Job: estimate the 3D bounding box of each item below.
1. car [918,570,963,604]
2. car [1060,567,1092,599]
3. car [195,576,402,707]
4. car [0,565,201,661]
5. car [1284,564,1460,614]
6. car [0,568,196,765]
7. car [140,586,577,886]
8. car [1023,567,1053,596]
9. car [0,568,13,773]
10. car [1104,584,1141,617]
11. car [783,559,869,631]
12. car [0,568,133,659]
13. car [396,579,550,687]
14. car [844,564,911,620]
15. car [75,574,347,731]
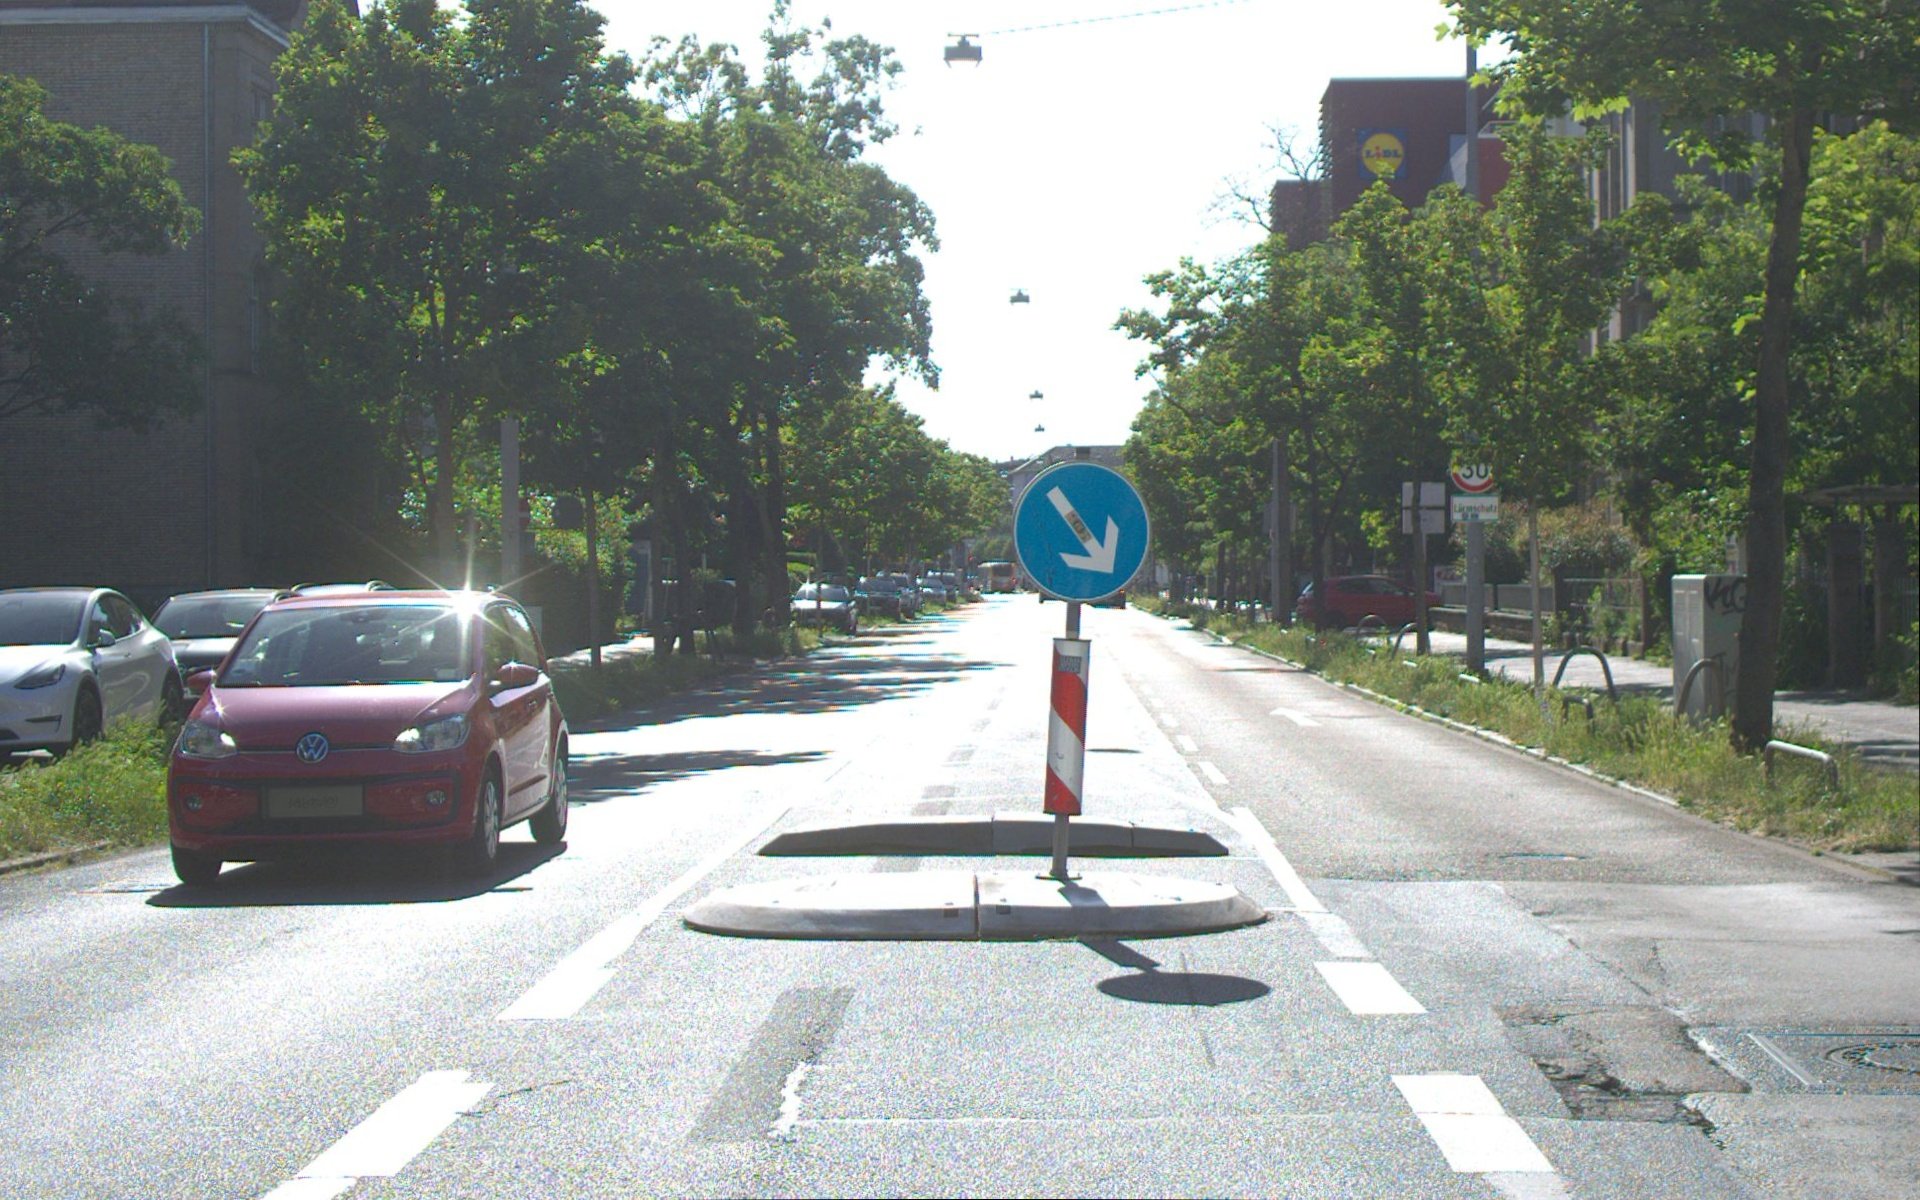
[{"bbox_3d":[-0.991,-0.683,176.024,1.994,1.690,4.000,-1,1,4],"label":"car"},{"bbox_3d":[6.600,-0.977,195.769,1.758,1.777,4.000,-1,1,3],"label":"car"},{"bbox_3d":[-8.364,0.495,43.769,1.751,1.548,4.000,-1,1,1],"label":"car"},{"bbox_3d":[-16.518,0.238,64.860,3.987,1.763,1.886,0,0,-1],"label":"car"},{"bbox_3d":[10.308,-0.283,86.049,3.986,1.219,1.804,0,1,-14],"label":"car"},{"bbox_3d":[-8.576,0.578,31.709,1.888,1.656,4.530,-2,0,1],"label":"car"},{"bbox_3d":[-3.133,0.656,18.538,1.651,1.423,3.507,-1,1,1],"label":"car"},{"bbox_3d":[4.853,-1.174,213.607,1.758,1.777,4.000,-1,1,3],"label":"car"},{"bbox_3d":[-8.619,0.600,25.274,1.868,1.622,4.504,-1,1,2],"label":"car"},{"bbox_3d":[8.662,0.014,183.404,1.951,1.702,4.000,-1,1,3],"label":"car"},{"bbox_3d":[-3.851,-0.169,99.359,1.994,2.007,4.205,-1,1,4],"label":"car"},{"bbox_3d":[-17.287,0.246,62.762,3.986,1.624,1.687,-1,0,-2],"label":"car"},{"bbox_3d":[-7.722,0.491,54.791,1.763,1.640,4.000,-1,0,2],"label":"car"},{"bbox_3d":[-3.020,-0.321,126.467,2.061,2.007,4.628,-1,1,4],"label":"car"},{"bbox_3d":[-8.221,0.538,38.091,1.863,1.582,4.000,-2,1,4],"label":"car"}]
